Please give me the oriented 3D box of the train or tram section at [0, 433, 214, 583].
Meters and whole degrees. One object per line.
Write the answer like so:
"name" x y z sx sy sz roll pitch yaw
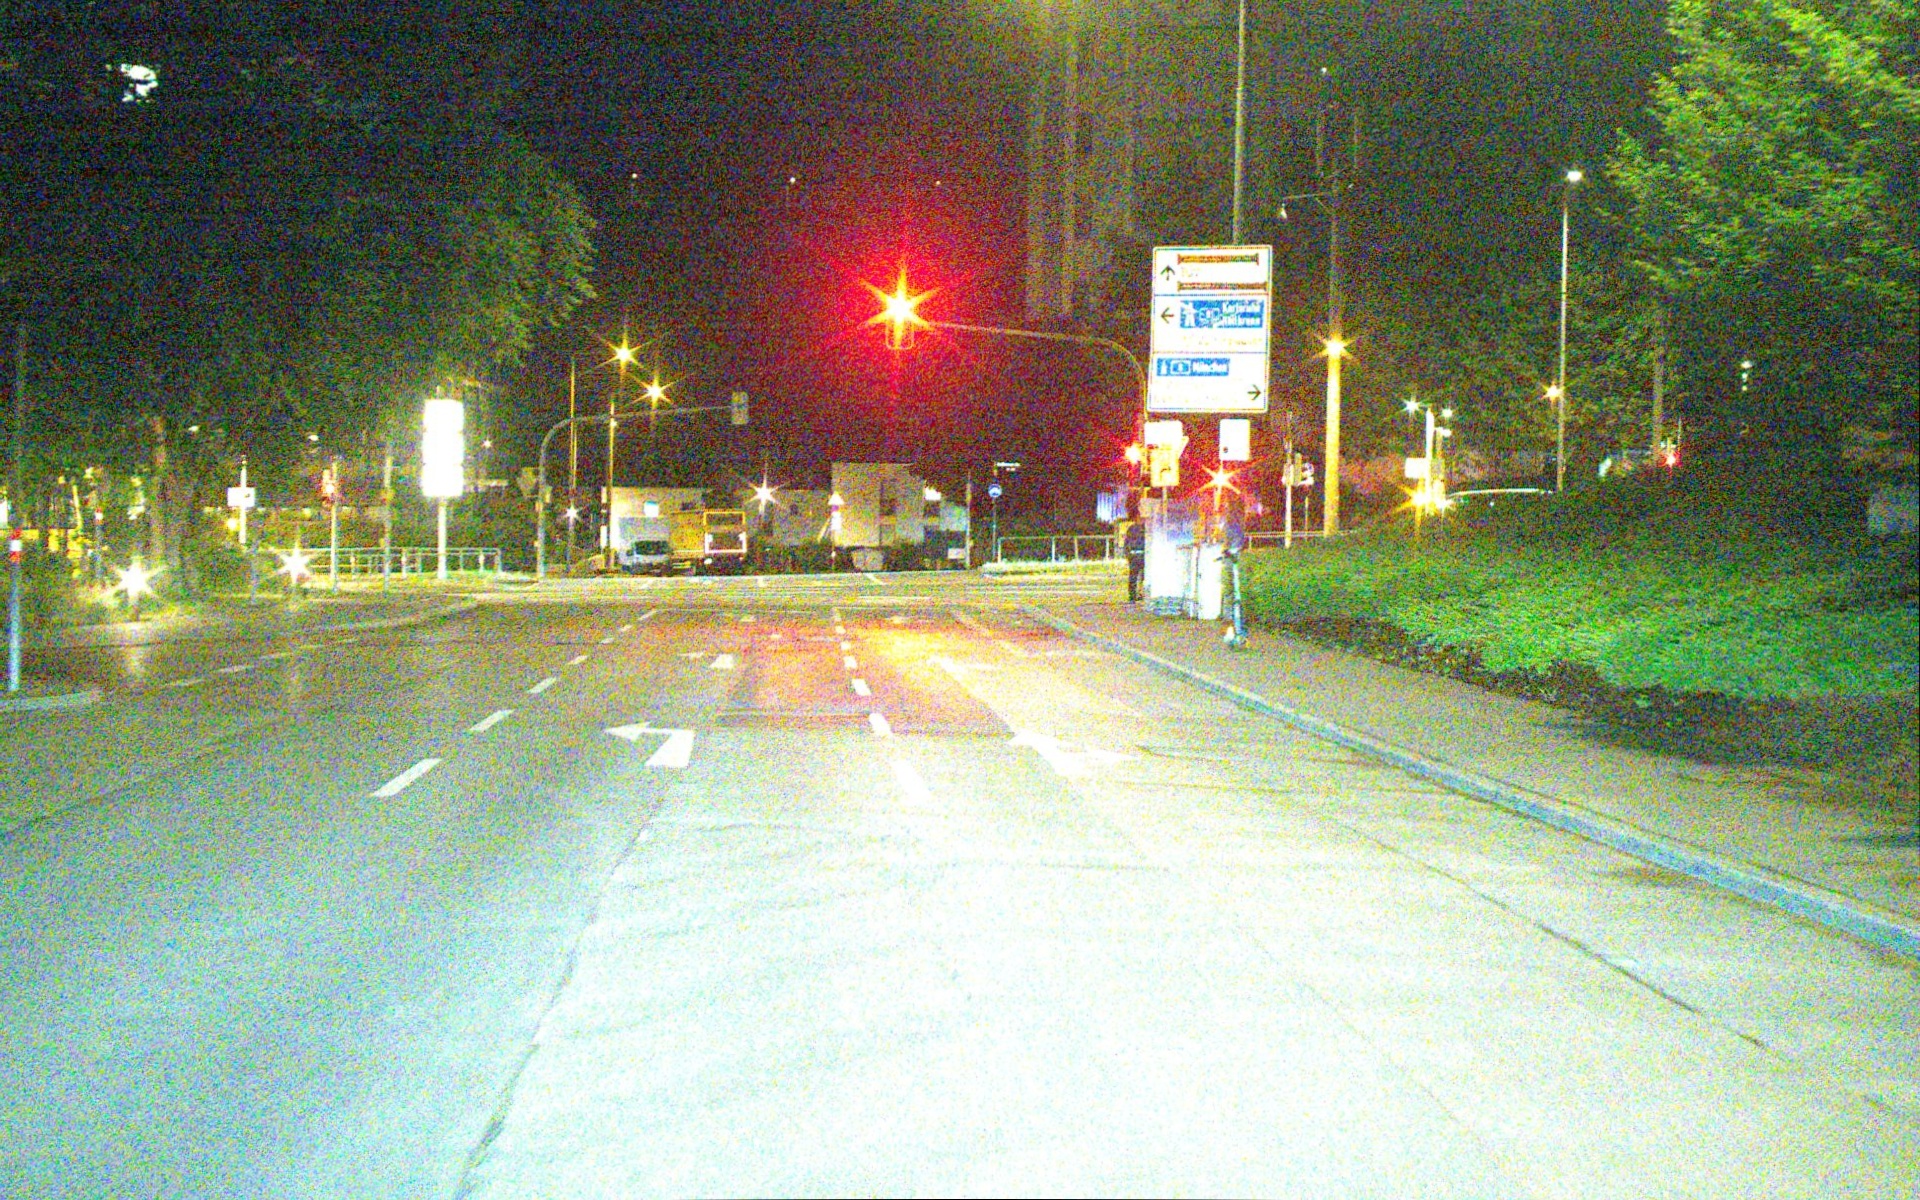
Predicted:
"train or tram section" -29.422 -2.333 90.091 19.176 3.810 2.923 0 1 4

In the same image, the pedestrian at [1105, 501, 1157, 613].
"pedestrian" 3.021 -0.765 60.861 0.737 1.975 0.626 0 1 -19

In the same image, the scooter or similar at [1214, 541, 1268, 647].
"scooter or similar" 3.443 -0.084 42.173 0.494 1.257 1.320 -2 1 -1

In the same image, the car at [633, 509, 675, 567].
"car" -15.900 -3.229 178.733 1.993 2.963 4.001 0 1 -8

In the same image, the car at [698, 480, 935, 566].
"car" -8.036 -4.287 191.811 12.380 4.693 4.811 0 1 -16
